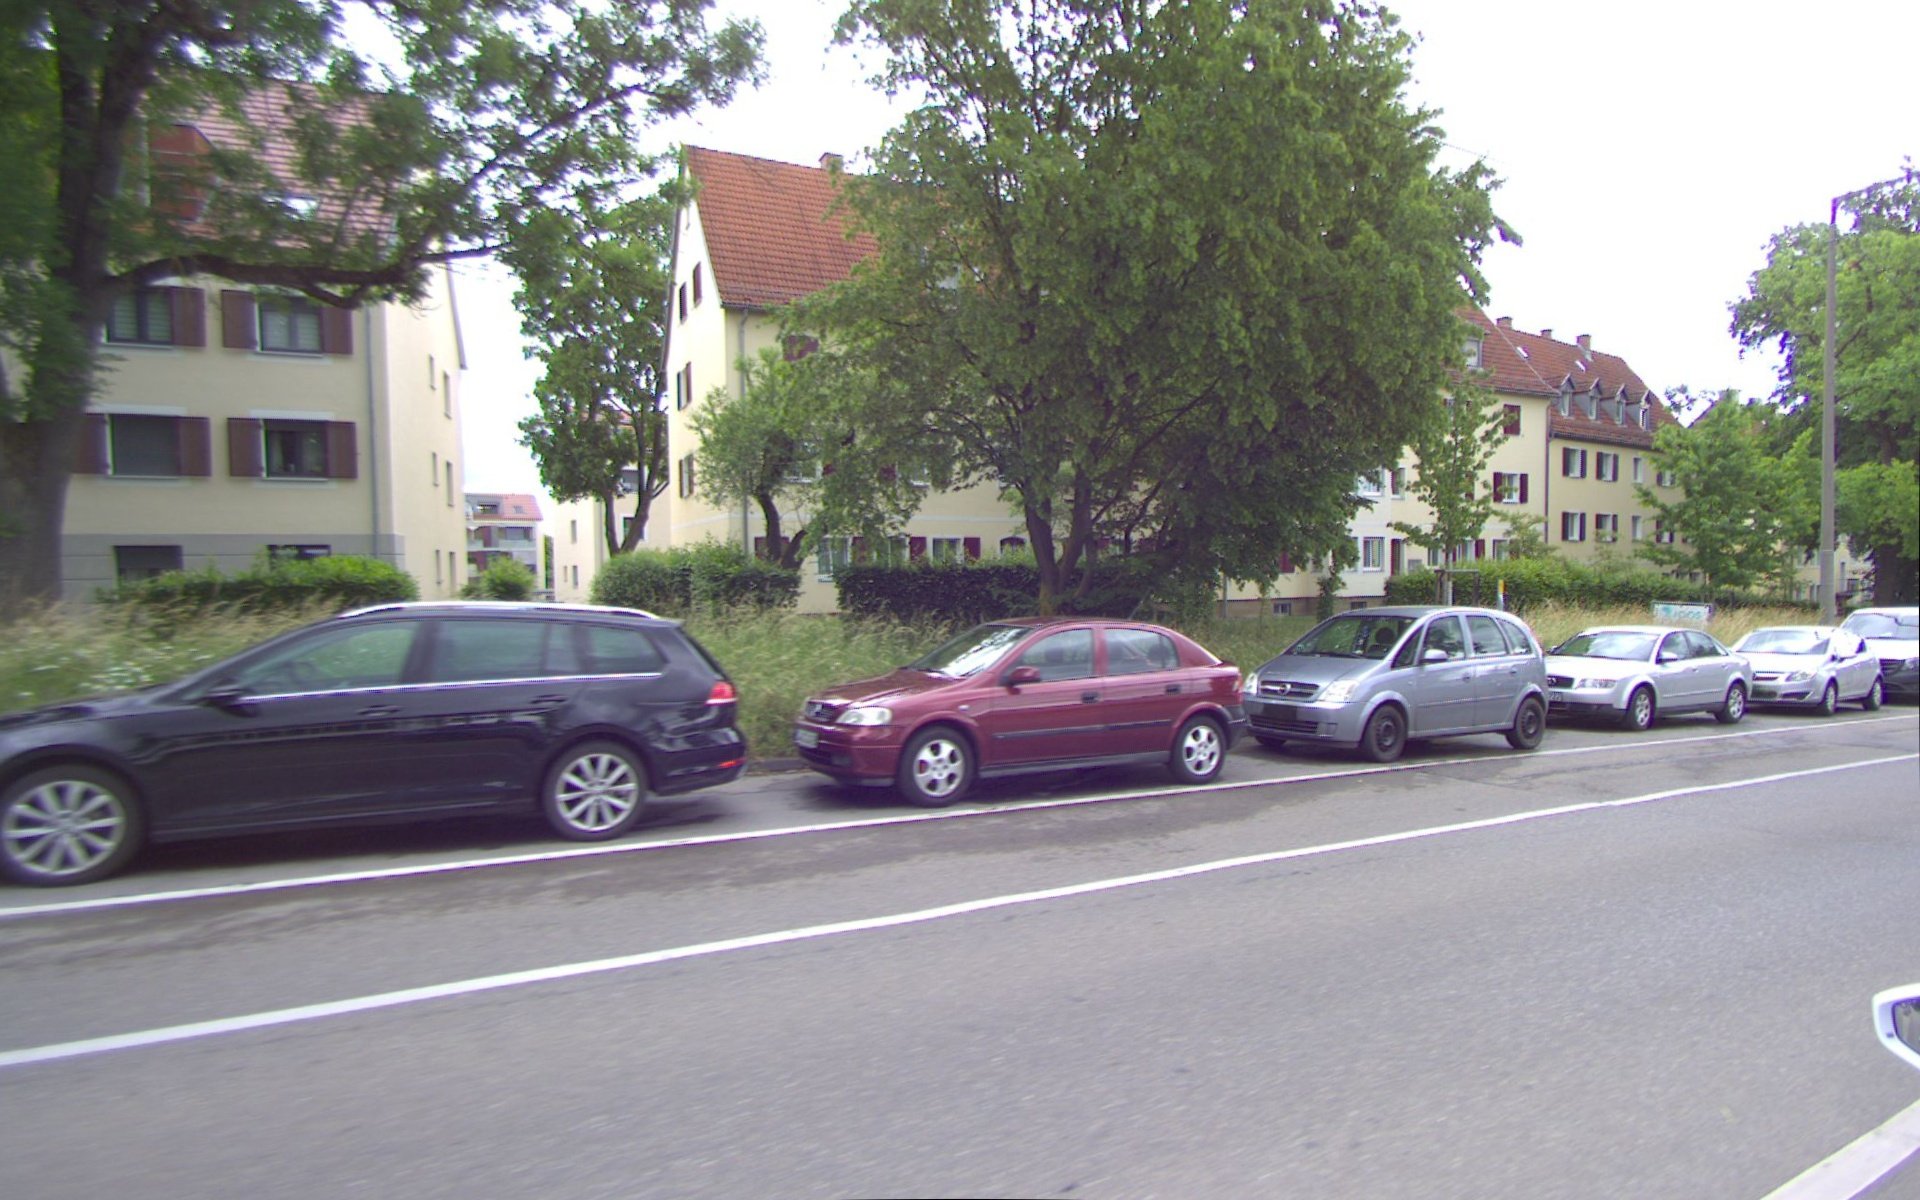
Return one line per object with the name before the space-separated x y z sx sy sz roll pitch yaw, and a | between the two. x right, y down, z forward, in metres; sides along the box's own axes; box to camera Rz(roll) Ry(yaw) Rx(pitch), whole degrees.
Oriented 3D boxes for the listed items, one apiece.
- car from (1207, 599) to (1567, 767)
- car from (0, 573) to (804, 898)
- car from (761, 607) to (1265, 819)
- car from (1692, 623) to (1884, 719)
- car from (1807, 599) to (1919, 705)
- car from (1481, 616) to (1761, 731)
car | 4.947 0.831 11.512 4.088 1.613 1.759 1 0 -31
car | -3.519 0.689 6.566 4.591 1.591 1.868 1 0 -27
car | 0.511 0.823 8.785 4.097 1.467 1.761 1 0 -28
car | 14.725 1.170 17.811 3.910 1.452 1.624 1 1 -35
car | 19.780 1.009 20.855 5.095 1.957 1.759 1 1 -31
car | 9.955 1.020 15.070 4.304 1.515 1.760 1 -1 -29
